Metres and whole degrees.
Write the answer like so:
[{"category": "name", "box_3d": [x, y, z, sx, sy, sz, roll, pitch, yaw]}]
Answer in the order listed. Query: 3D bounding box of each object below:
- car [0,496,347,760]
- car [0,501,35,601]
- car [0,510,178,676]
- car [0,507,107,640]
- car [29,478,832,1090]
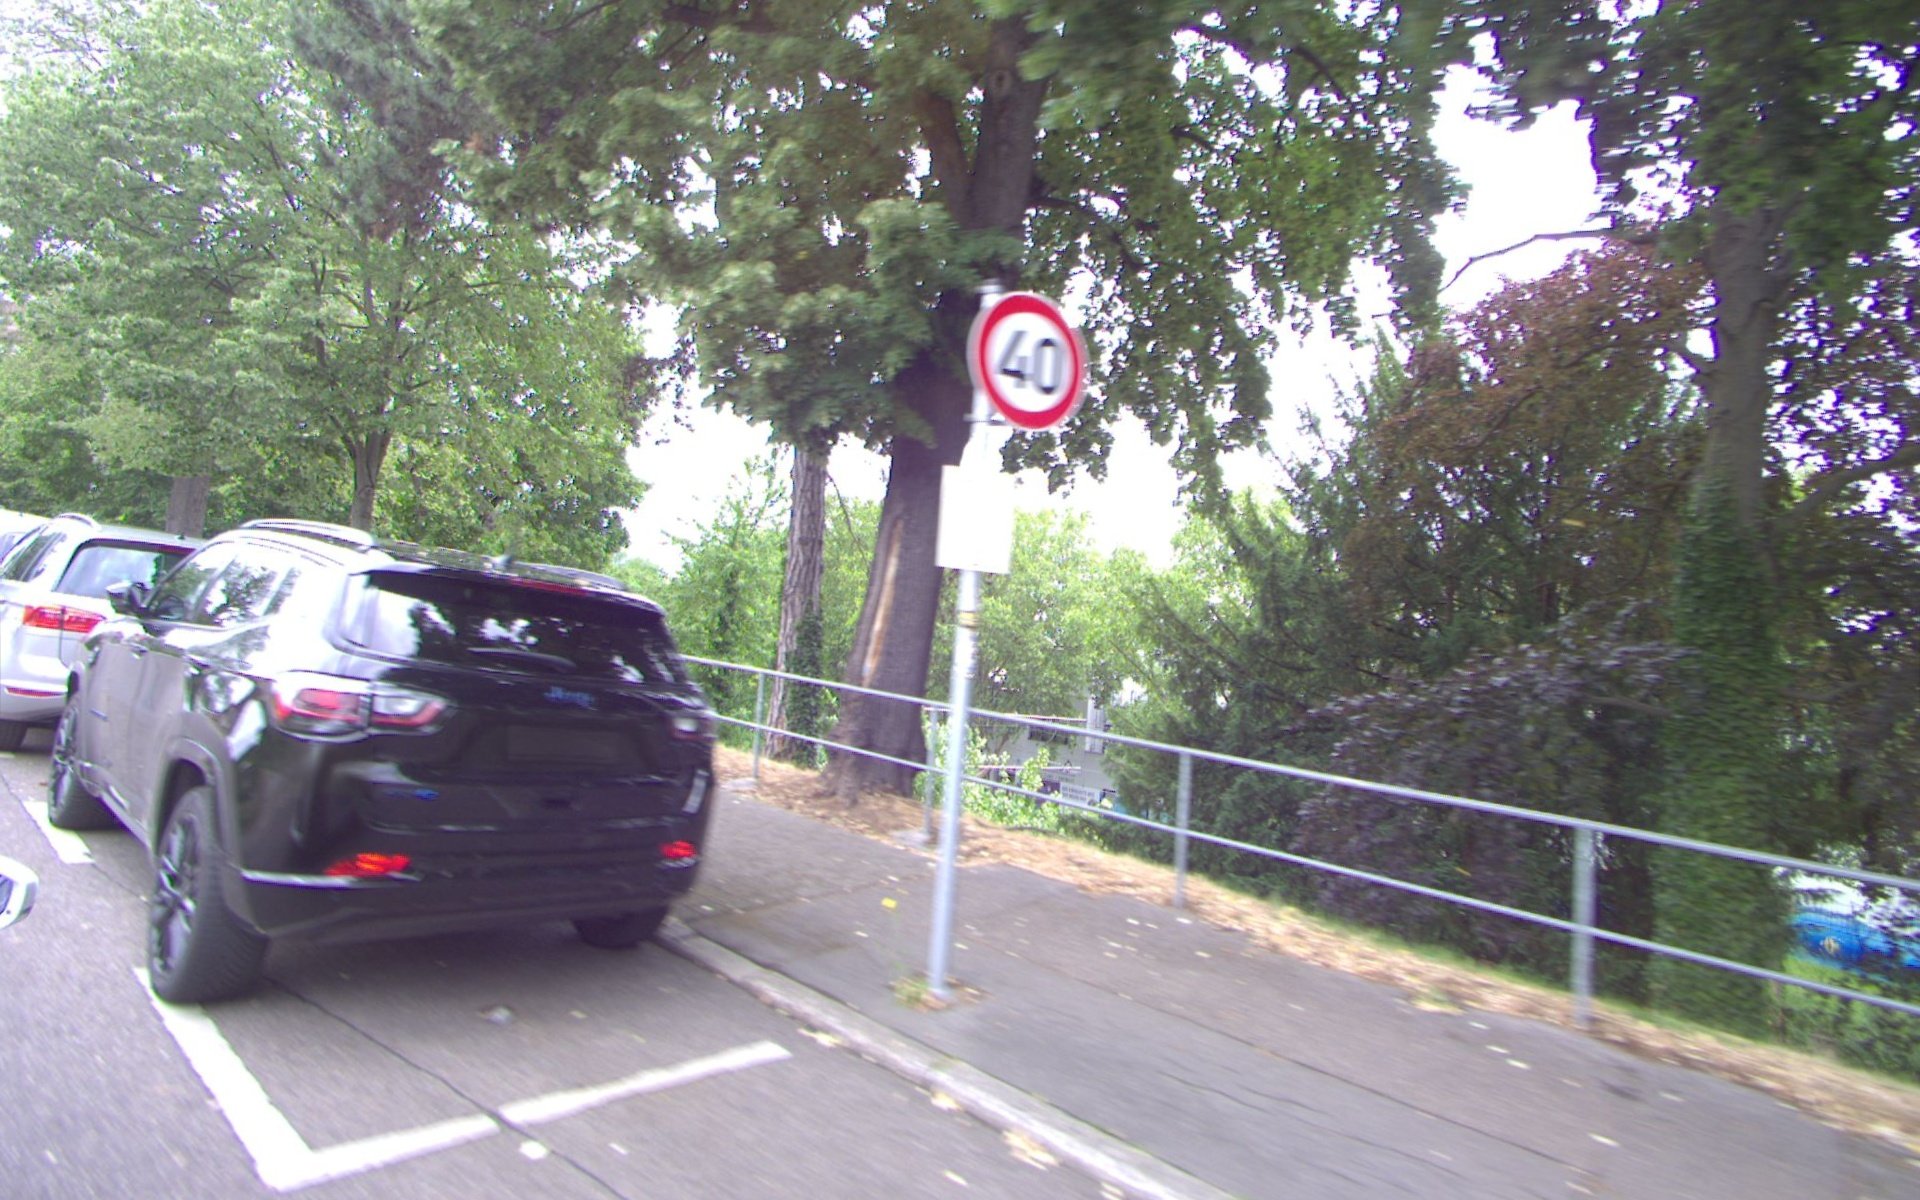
[{"category": "car", "box_3d": [-6.759, 0.128, 8.124, 4.304, 1.593, 1.733, 5, -3, 41]}, {"category": "car", "box_3d": [-18.936, -1.129, 18.714, 4.993, 1.695, 1.877, 5, -4, 42]}, {"category": "car", "box_3d": [-10.827, -0.186, 11.782, 4.005, 1.532, 1.631, 6, -5, 39]}, {"category": "car", "box_3d": [-14.413, -0.548, 14.988, 4.029, 1.647, 1.728, 6, -6, 40]}, {"category": "car", "box_3d": [-2.914, 0.461, 4.922, 4.538, 1.633, 1.903, 5, -4, 43]}]
